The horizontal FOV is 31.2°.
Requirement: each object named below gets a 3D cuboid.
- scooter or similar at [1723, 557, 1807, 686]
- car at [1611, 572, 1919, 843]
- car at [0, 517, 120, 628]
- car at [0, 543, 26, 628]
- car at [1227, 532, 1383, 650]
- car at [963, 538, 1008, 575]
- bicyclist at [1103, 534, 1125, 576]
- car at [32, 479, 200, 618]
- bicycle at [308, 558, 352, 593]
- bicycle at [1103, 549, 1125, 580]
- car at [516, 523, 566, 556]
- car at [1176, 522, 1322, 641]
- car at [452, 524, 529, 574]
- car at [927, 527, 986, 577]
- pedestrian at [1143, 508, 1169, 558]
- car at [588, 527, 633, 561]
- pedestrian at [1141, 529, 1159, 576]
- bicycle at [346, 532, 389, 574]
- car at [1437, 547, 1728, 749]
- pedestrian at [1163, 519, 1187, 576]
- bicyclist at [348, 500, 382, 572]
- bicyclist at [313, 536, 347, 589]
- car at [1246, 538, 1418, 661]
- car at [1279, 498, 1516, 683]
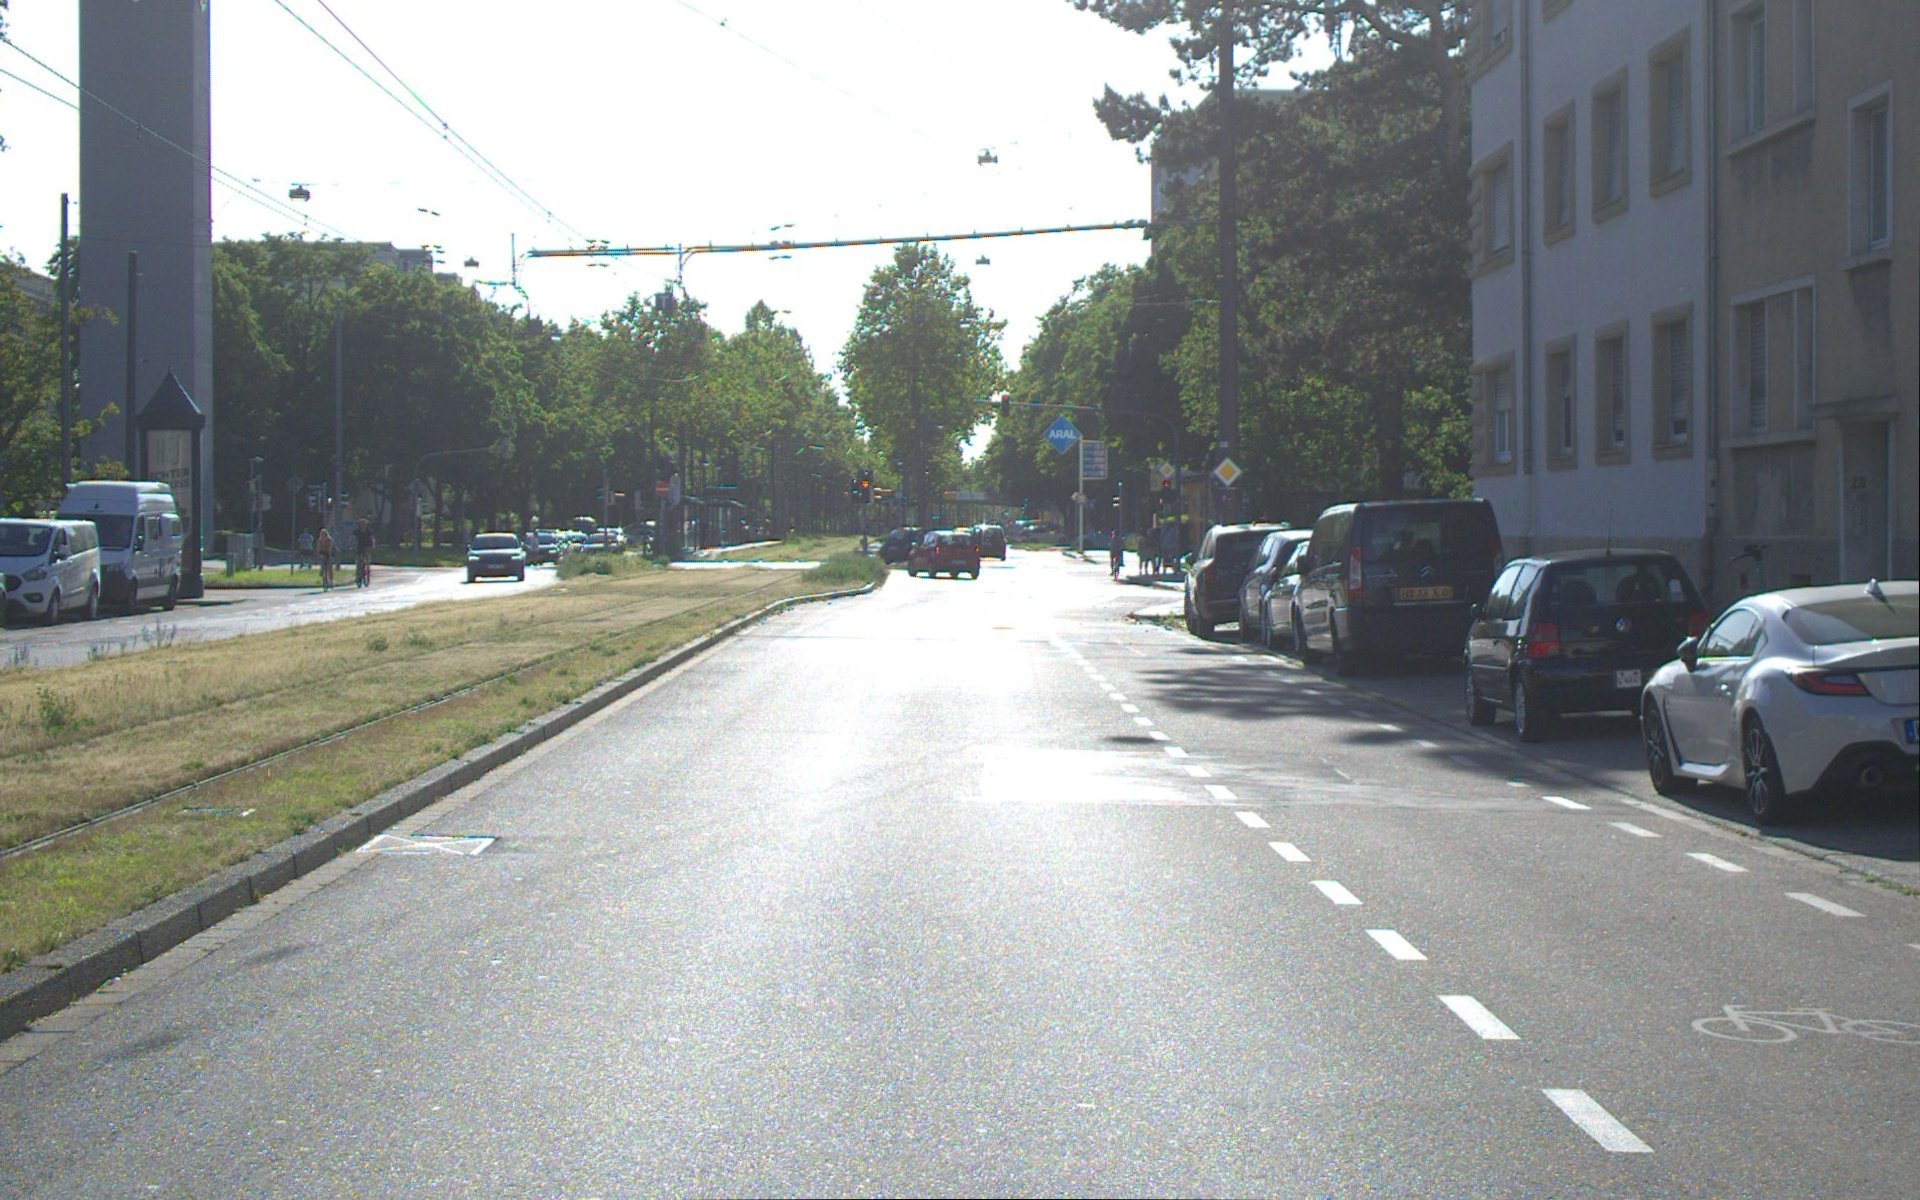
[{"bbox_3d":[8.080,0.201,34.553,0.458,1.234,1.339,-4,1,0],"label":"scooter or similar"},{"bbox_3d":[5.207,0.554,20.429,1.702,1.271,4.304,-4,1,-1],"label":"car"},{"bbox_3d":[-18.302,-0.579,67.801,2.032,2.014,5.371,2,1,0],"label":"car"},{"bbox_3d":[-18.182,-0.265,62.038,1.694,1.509,4.327,1,1,-3],"label":"car"},{"bbox_3d":[4.900,-0.162,49.248,1.593,1.573,3.896,-2,1,-3],"label":"car"},{"bbox_3d":[1.167,-2.079,161.594,1.894,1.605,4.501,2,1,-2],"label":"car"},{"bbox_3d":[4.989,-1.445,111.172,0.638,1.318,0.803,3,1,2],"label":"bicyclist"},{"bbox_3d":[-18.328,-1.153,74.942,2.032,2.859,6.228,1,1,0],"label":"car"},{"bbox_3d":[-16.759,-0.645,91.500,0.768,0.876,2.069,-2,1,0],"label":"bicycle"},{"bbox_3d":[4.982,-1.158,111.145,0.648,0.969,1.803,3,1,2],"label":"bicycle"},{"bbox_3d":[-19.366,-2.798,158.927,1.806,1.527,4.361,0,1,0],"label":"car"},{"bbox_3d":[4.546,-0.330,54.741,1.879,1.711,4.934,-3,1,1],"label":"car"},{"bbox_3d":[-14.178,-1.561,104.010,1.694,1.443,4.217,-1,1,0],"label":"car"},{"bbox_3d":[-0.137,-1.561,110.671,1.694,1.503,3.700,2,1,-2],"label":"car"},{"bbox_3d":[6.621,-2.273,116.362,0.730,1.676,0.532,3,1,12],"label":"pedestrian"},{"bbox_3d":[-16.252,-2.612,160.116,1.687,1.527,4.361,0,1,0],"label":"car"},{"bbox_3d":[6.181,-1.539,111.643,0.529,1.523,0.627,-1,1,5],"label":"pedestrian"},{"bbox_3d":[-16.778,-1.348,97.410,0.768,1.142,2.475,-2,1,0],"label":"bicycle"},{"bbox_3d":[5.039,0.337,28.266,1.635,1.449,3.790,-2,1,0],"label":"car"},{"bbox_3d":[6.971,-1.708,111.476,0.703,1.783,0.694,-2,2,5],"label":"pedestrian"},{"bbox_3d":[-16.791,-1.801,97.008,0.773,2.007,0.648,2,1,0],"label":"bicyclist"},{"bbox_3d":[-16.758,-0.999,91.491,0.773,1.379,0.648,0,1,0],"label":"bicyclist"},{"bbox_3d":[4.759,-0.042,44.454,1.510,1.473,4.239,-2,1,-3],"label":"car"},{"bbox_3d":[4.953,-0.155,39.613,1.913,1.893,5.136,-3,1,-1],"label":"car"}]
